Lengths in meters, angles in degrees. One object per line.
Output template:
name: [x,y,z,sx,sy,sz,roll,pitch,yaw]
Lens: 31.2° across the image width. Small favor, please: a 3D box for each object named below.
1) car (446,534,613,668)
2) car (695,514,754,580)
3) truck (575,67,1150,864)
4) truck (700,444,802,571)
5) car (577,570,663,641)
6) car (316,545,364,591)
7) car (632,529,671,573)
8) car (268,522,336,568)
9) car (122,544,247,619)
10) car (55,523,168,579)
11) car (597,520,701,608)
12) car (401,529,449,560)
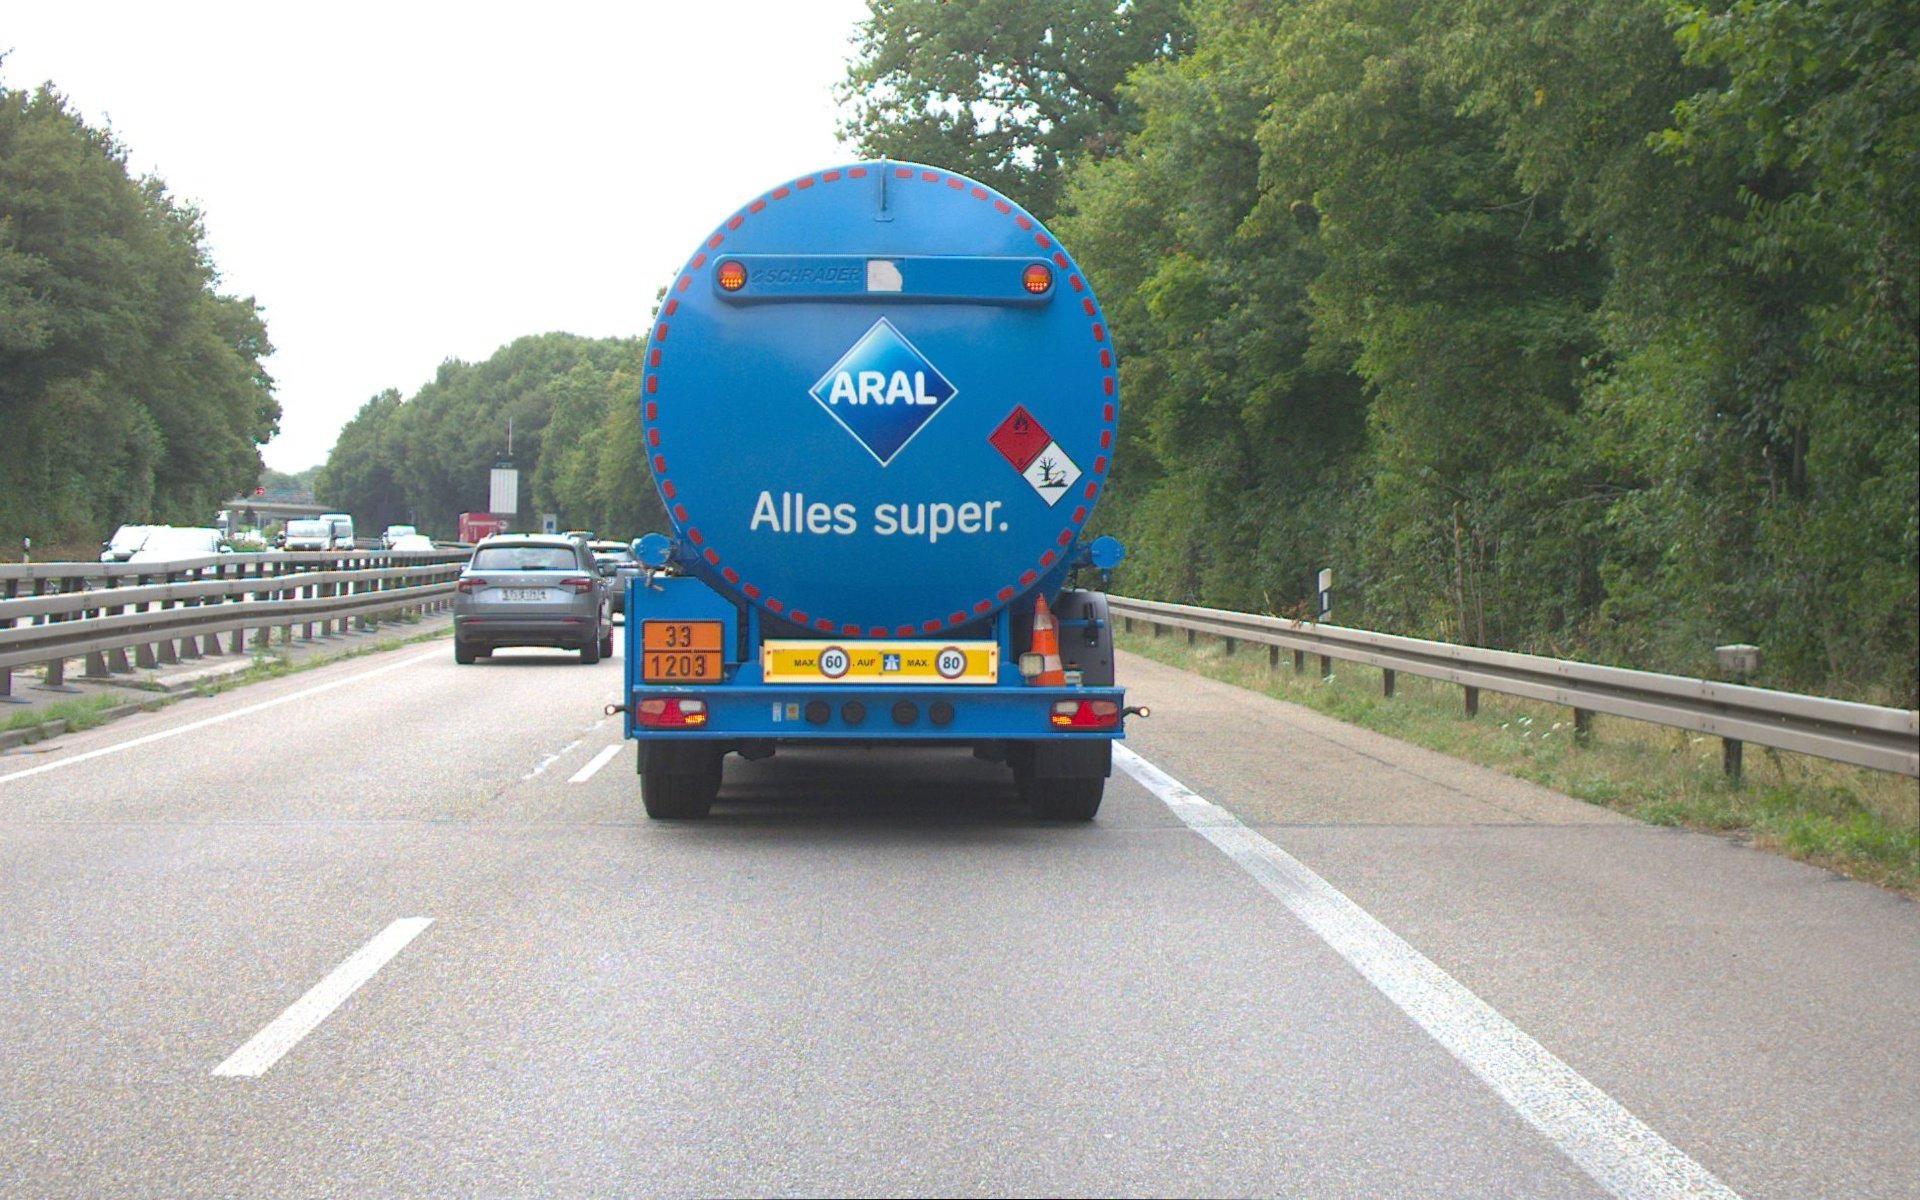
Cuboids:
car: [-5.379,0.003,43.361,1.826,1.604,4.168,0,0,-3]
car: [-8.113,-1.825,118.726,1.993,2.237,4.001,0,0,-3]
truck: [-0.586,-0.692,20.433,2.755,3.833,7.689,0,1,-2]
truck: [-5.268,-2.284,87.562,1.993,3.082,7.815,0,0,1]
car: [-9.880,0.142,100.075,1.993,2.007,4.000,0,0,2]
car: [-35.804,-1.866,198.633,2.311,2.602,5.554,0,0,-6]
car: [-16.151,-2.549,179.800,1.993,2.237,4.001,0,0,-6]
car: [-26.136,-2.167,136.696,2.035,1.798,5.124,0,0,-4]
car: [-15.095,-0.367,67.092,1.711,1.422,4.057,0,0,-3]
car: [-20.336,-1.167,82.532,1.977,1.295,4.069,0,0,-4]
car: [-5.796,-0.667,64.486,1.826,1.604,4.168,0,0,-4]
car: [-23.758,-2.440,152.714,1.655,1.274,4.713,2,0,-4]
